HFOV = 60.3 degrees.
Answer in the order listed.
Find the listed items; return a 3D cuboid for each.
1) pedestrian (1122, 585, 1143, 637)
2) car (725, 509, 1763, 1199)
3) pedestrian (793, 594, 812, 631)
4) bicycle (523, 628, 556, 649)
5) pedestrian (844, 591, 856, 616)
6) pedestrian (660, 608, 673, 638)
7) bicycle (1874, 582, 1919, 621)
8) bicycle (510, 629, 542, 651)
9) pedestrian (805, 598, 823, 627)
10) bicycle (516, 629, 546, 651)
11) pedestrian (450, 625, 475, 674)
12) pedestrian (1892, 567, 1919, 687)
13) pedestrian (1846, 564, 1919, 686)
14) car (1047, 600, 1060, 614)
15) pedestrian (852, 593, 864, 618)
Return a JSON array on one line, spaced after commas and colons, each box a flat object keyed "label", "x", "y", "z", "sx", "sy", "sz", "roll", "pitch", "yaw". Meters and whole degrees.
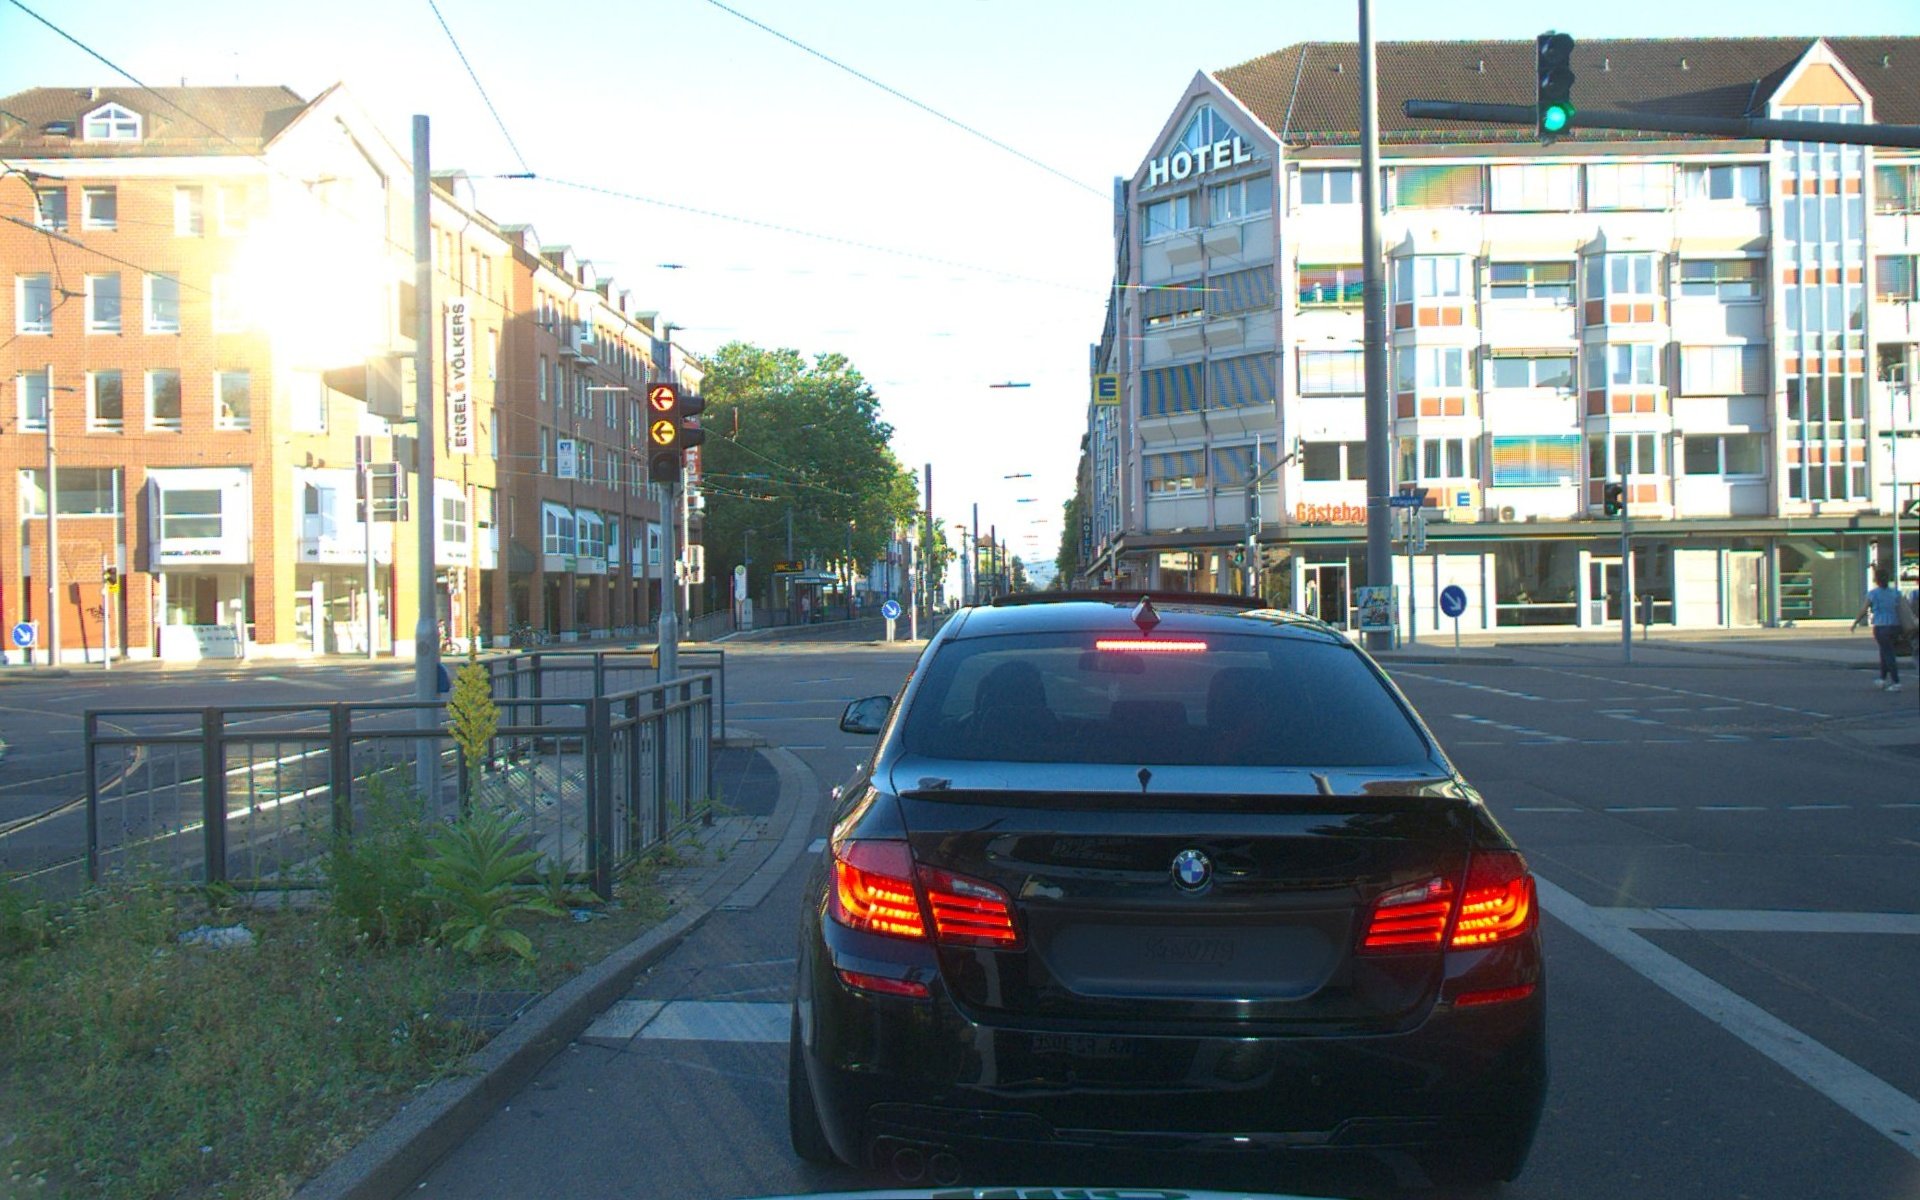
[{"label": "pedestrian", "x": 6.347, "y": 0.402, "z": 60.783, "sx": 0.670, "sy": 1.887, "sz": 0.671, "roll": -1, "pitch": 0, "yaw": -1}, {"label": "car", "x": 0.507, "y": 0.640, "z": 5.128, "sx": 1.953, "sy": 1.612, "sz": 3.999, "roll": 1, "pitch": 0, "yaw": -1}, {"label": "pedestrian", "x": -8.922, "y": 0.717, "z": 93.501, "sx": 0.967, "sy": 2.049, "sz": 0.726, "roll": 0, "pitch": 0, "yaw": 2}, {"label": "bicycle", "x": -18.711, "y": 1.718, "z": 73.679, "sx": 1.388, "sy": 0.938, "sz": 0.442, "roll": 1, "pitch": 0, "yaw": -13}, {"label": "pedestrian", "x": -7.747, "y": 0.234, "z": 116.419, "sx": 0.708, "sy": 1.710, "sz": 0.992, "roll": -1, "pitch": 0, "yaw": 5}, {"label": "pedestrian", "x": -16.749, "y": 1.298, "z": 94.388, "sx": 0.476, "sy": 1.710, "sz": 0.655, "roll": -1, "pitch": 0, "yaw": 7}, {"label": "bicycle", "x": 32.340, "y": 0.036, "z": 55.960, "sx": 2.356, "sy": 1.287, "sz": 0.823, "roll": -1, "pitch": 0, "yaw": -2}, {"label": "bicycle", "x": -18.805, "y": 1.745, "z": 71.642, "sx": 1.259, "sy": 0.938, "sz": 0.349, "roll": 1, "pitch": 0, "yaw": -1}, {"label": "pedestrian", "x": -8.687, "y": 0.758, "z": 98.609, "sx": 0.967, "sy": 1.710, "sz": 0.726, "roll": -1, "pitch": 0, "yaw": 2}, {"label": "bicycle", "x": -18.729, "y": 1.745, "z": 72.201, "sx": 1.263, "sy": 0.938, "sz": 0.348, "roll": 1, "pitch": 0, "yaw": -13}, {"label": "pedestrian", "x": -19.649, "y": 1.956, "z": 65.312, "sx": 0.620, "sy": 1.900, "sz": 0.677, "roll": 1, "pitch": 0, "yaw": 29}, {"label": "pedestrian", "x": 13.898, "y": 0.375, "z": 23.695, "sx": 0.707, "sy": 1.696, "sz": 0.671, "roll": -1, "pitch": 0, "yaw": 6}, {"label": "pedestrian", "x": 13.087, "y": 0.345, "z": 23.470, "sx": 0.670, "sy": 1.696, "sz": 0.671, "roll": -1, "pitch": 0, "yaw": 6}, {"label": "car", "x": 10.911, "y": 0.845, "z": 193.519, "sx": 1.442, "sy": 1.541, "sz": 3.097, "roll": -1, "pitch": 0, "yaw": 2}, {"label": "pedestrian", "x": -7.271, "y": 0.389, "z": 118.250, "sx": 0.708, "sy": 1.710, "sz": 0.992, "roll": -1, "pitch": 0, "yaw": 5}]
